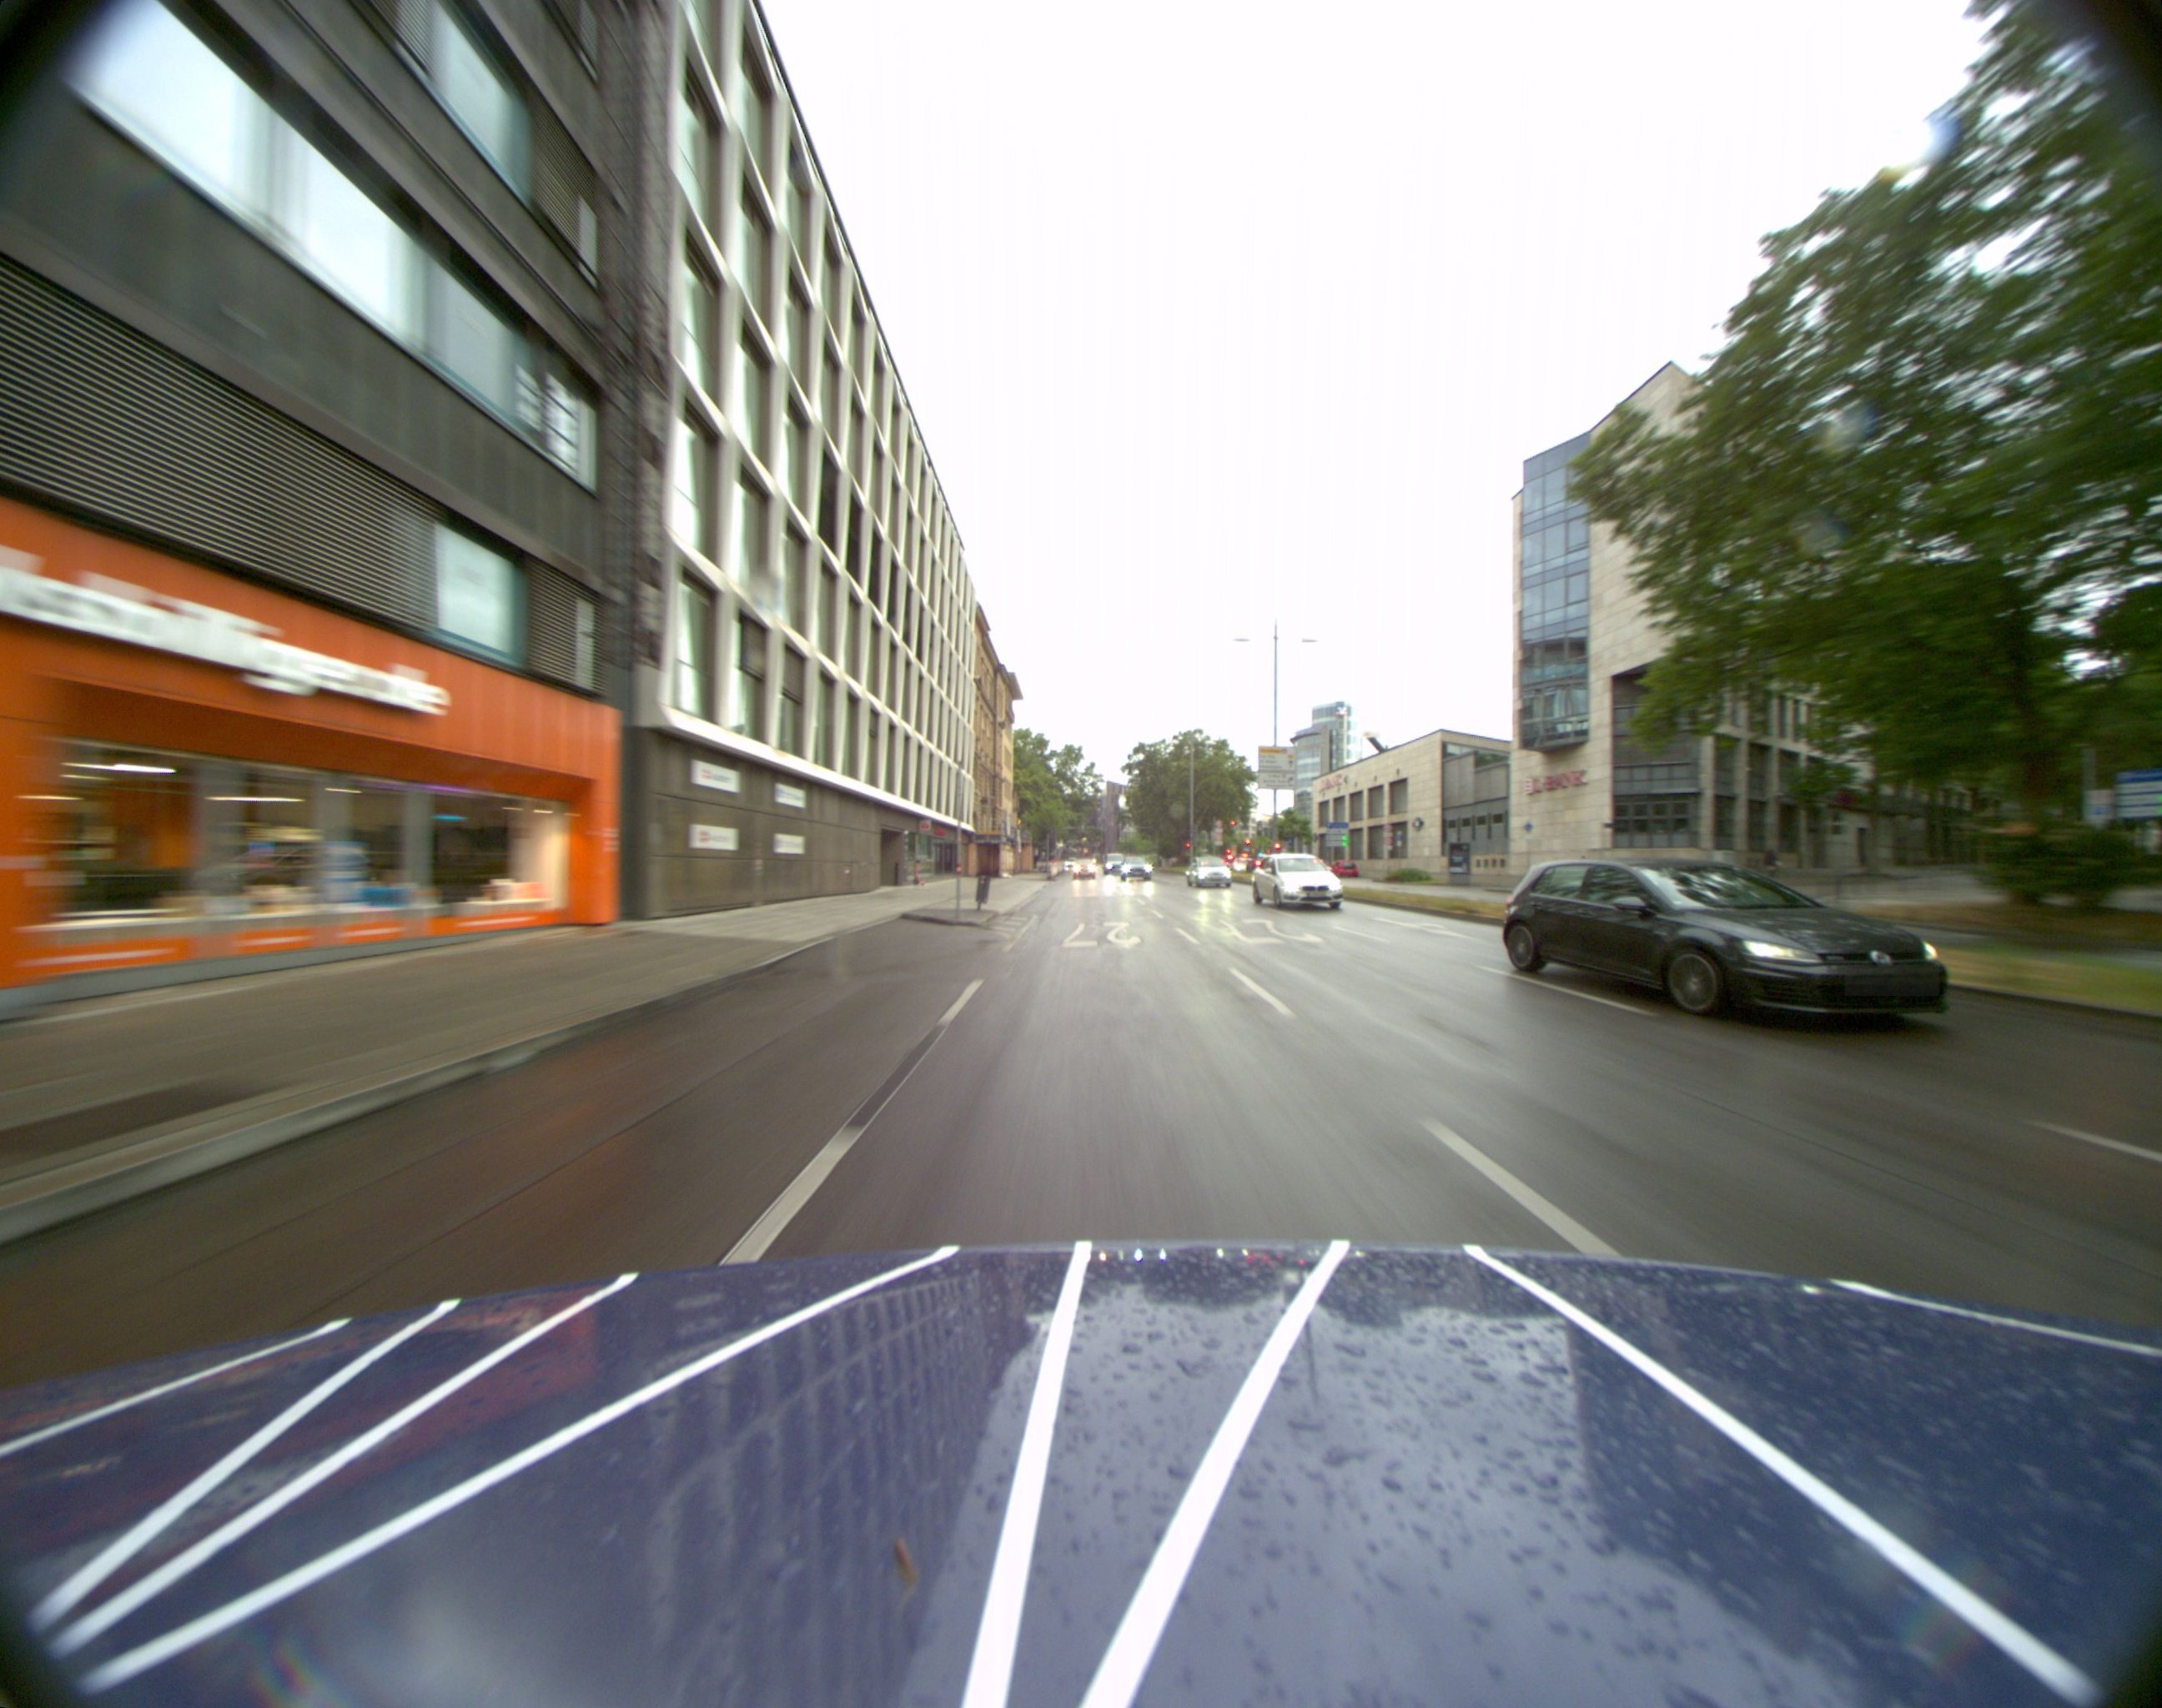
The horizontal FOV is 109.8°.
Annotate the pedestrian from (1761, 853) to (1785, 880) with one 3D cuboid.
[{"bbox_3d":[40.071,0.747,44.005,0.669,1.561,0.820,0,-1,-21],"label":"pedestrian"}]

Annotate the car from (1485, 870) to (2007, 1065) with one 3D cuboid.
[{"bbox_3d":[6.323,0.925,8.018,1.789,1.444,4.122,0,0,-3],"label":"car"}]

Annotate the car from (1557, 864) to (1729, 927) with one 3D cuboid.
[{"bbox_3d":[15.483,1.083,21.248,1.666,1.455,4.080,2,0,-2],"label":"car"}]

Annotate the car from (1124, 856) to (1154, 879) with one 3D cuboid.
[{"bbox_3d":[3.854,0.889,50.973,1.716,1.432,3.494,2,0,1],"label":"car"}]

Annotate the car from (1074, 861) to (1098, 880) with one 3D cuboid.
[{"bbox_3d":[0.337,1.211,56.874,1.716,1.274,3.494,1,0,0],"label":"car"}]

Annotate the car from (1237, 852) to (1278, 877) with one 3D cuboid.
[{"bbox_3d":[12.682,0.736,54.770,1.878,1.670,4.680,0,1,0],"label":"car"}]

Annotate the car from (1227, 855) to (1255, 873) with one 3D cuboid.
[{"bbox_3d":[13.219,0.808,63.118,1.600,1.352,4.117,1,1,2],"label":"car"}]

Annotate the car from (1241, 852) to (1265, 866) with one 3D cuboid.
[{"bbox_3d":[17.729,0.484,78.405,1.730,1.424,4.396,1,1,4],"label":"car"}]

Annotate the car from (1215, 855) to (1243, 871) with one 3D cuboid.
[{"bbox_3d":[13.751,0.792,70.773,1.704,1.429,4.582,0,1,1],"label":"car"}]

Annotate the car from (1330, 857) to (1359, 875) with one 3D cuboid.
[{"bbox_3d":[22.368,1.013,64.602,1.595,1.407,3.402,1,1,5],"label":"car"}]

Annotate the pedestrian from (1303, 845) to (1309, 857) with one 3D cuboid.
[{"bbox_3d":[36.663,-0.425,123.683,0.589,1.913,1.125,-1,0,0],"label":"pedestrian"}]

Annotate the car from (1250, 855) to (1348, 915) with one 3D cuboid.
[{"bbox_3d":[6.412,0.858,22.802,1.781,1.587,3.999,0,1,0],"label":"car"}]

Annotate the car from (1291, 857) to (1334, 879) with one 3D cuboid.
[{"bbox_3d":[16.598,0.972,54.651,1.695,1.430,4.758,0,1,0],"label":"car"}]

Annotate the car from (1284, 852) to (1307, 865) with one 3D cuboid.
[{"bbox_3d":[23.839,0.474,84.678,1.751,1.407,4.295,1,1,6],"label":"car"}]

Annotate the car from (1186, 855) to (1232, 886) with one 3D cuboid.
[{"bbox_3d":[6.389,0.800,38.269,1.612,1.433,3.494,-2,0,-1],"label":"car"}]

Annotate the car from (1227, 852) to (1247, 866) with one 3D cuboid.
[{"bbox_3d":[18.966,0.616,92.388,1.835,1.630,4.093,1,1,4],"label":"car"}]

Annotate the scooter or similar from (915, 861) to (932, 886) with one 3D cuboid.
[{"bbox_3d":[-7.684,0.937,37.086,0.412,1.229,1.190,0,0,9],"label":"scooter or similar"}]

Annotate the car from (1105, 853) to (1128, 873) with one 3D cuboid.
[{"bbox_3d":[3.164,0.821,68.325,1.998,1.733,3.910,0,0,2],"label":"car"}]

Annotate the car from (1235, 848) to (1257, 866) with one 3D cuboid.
[{"bbox_3d":[18.509,0.326,85.325,1.835,1.990,5.106,1,1,5],"label":"car"}]
